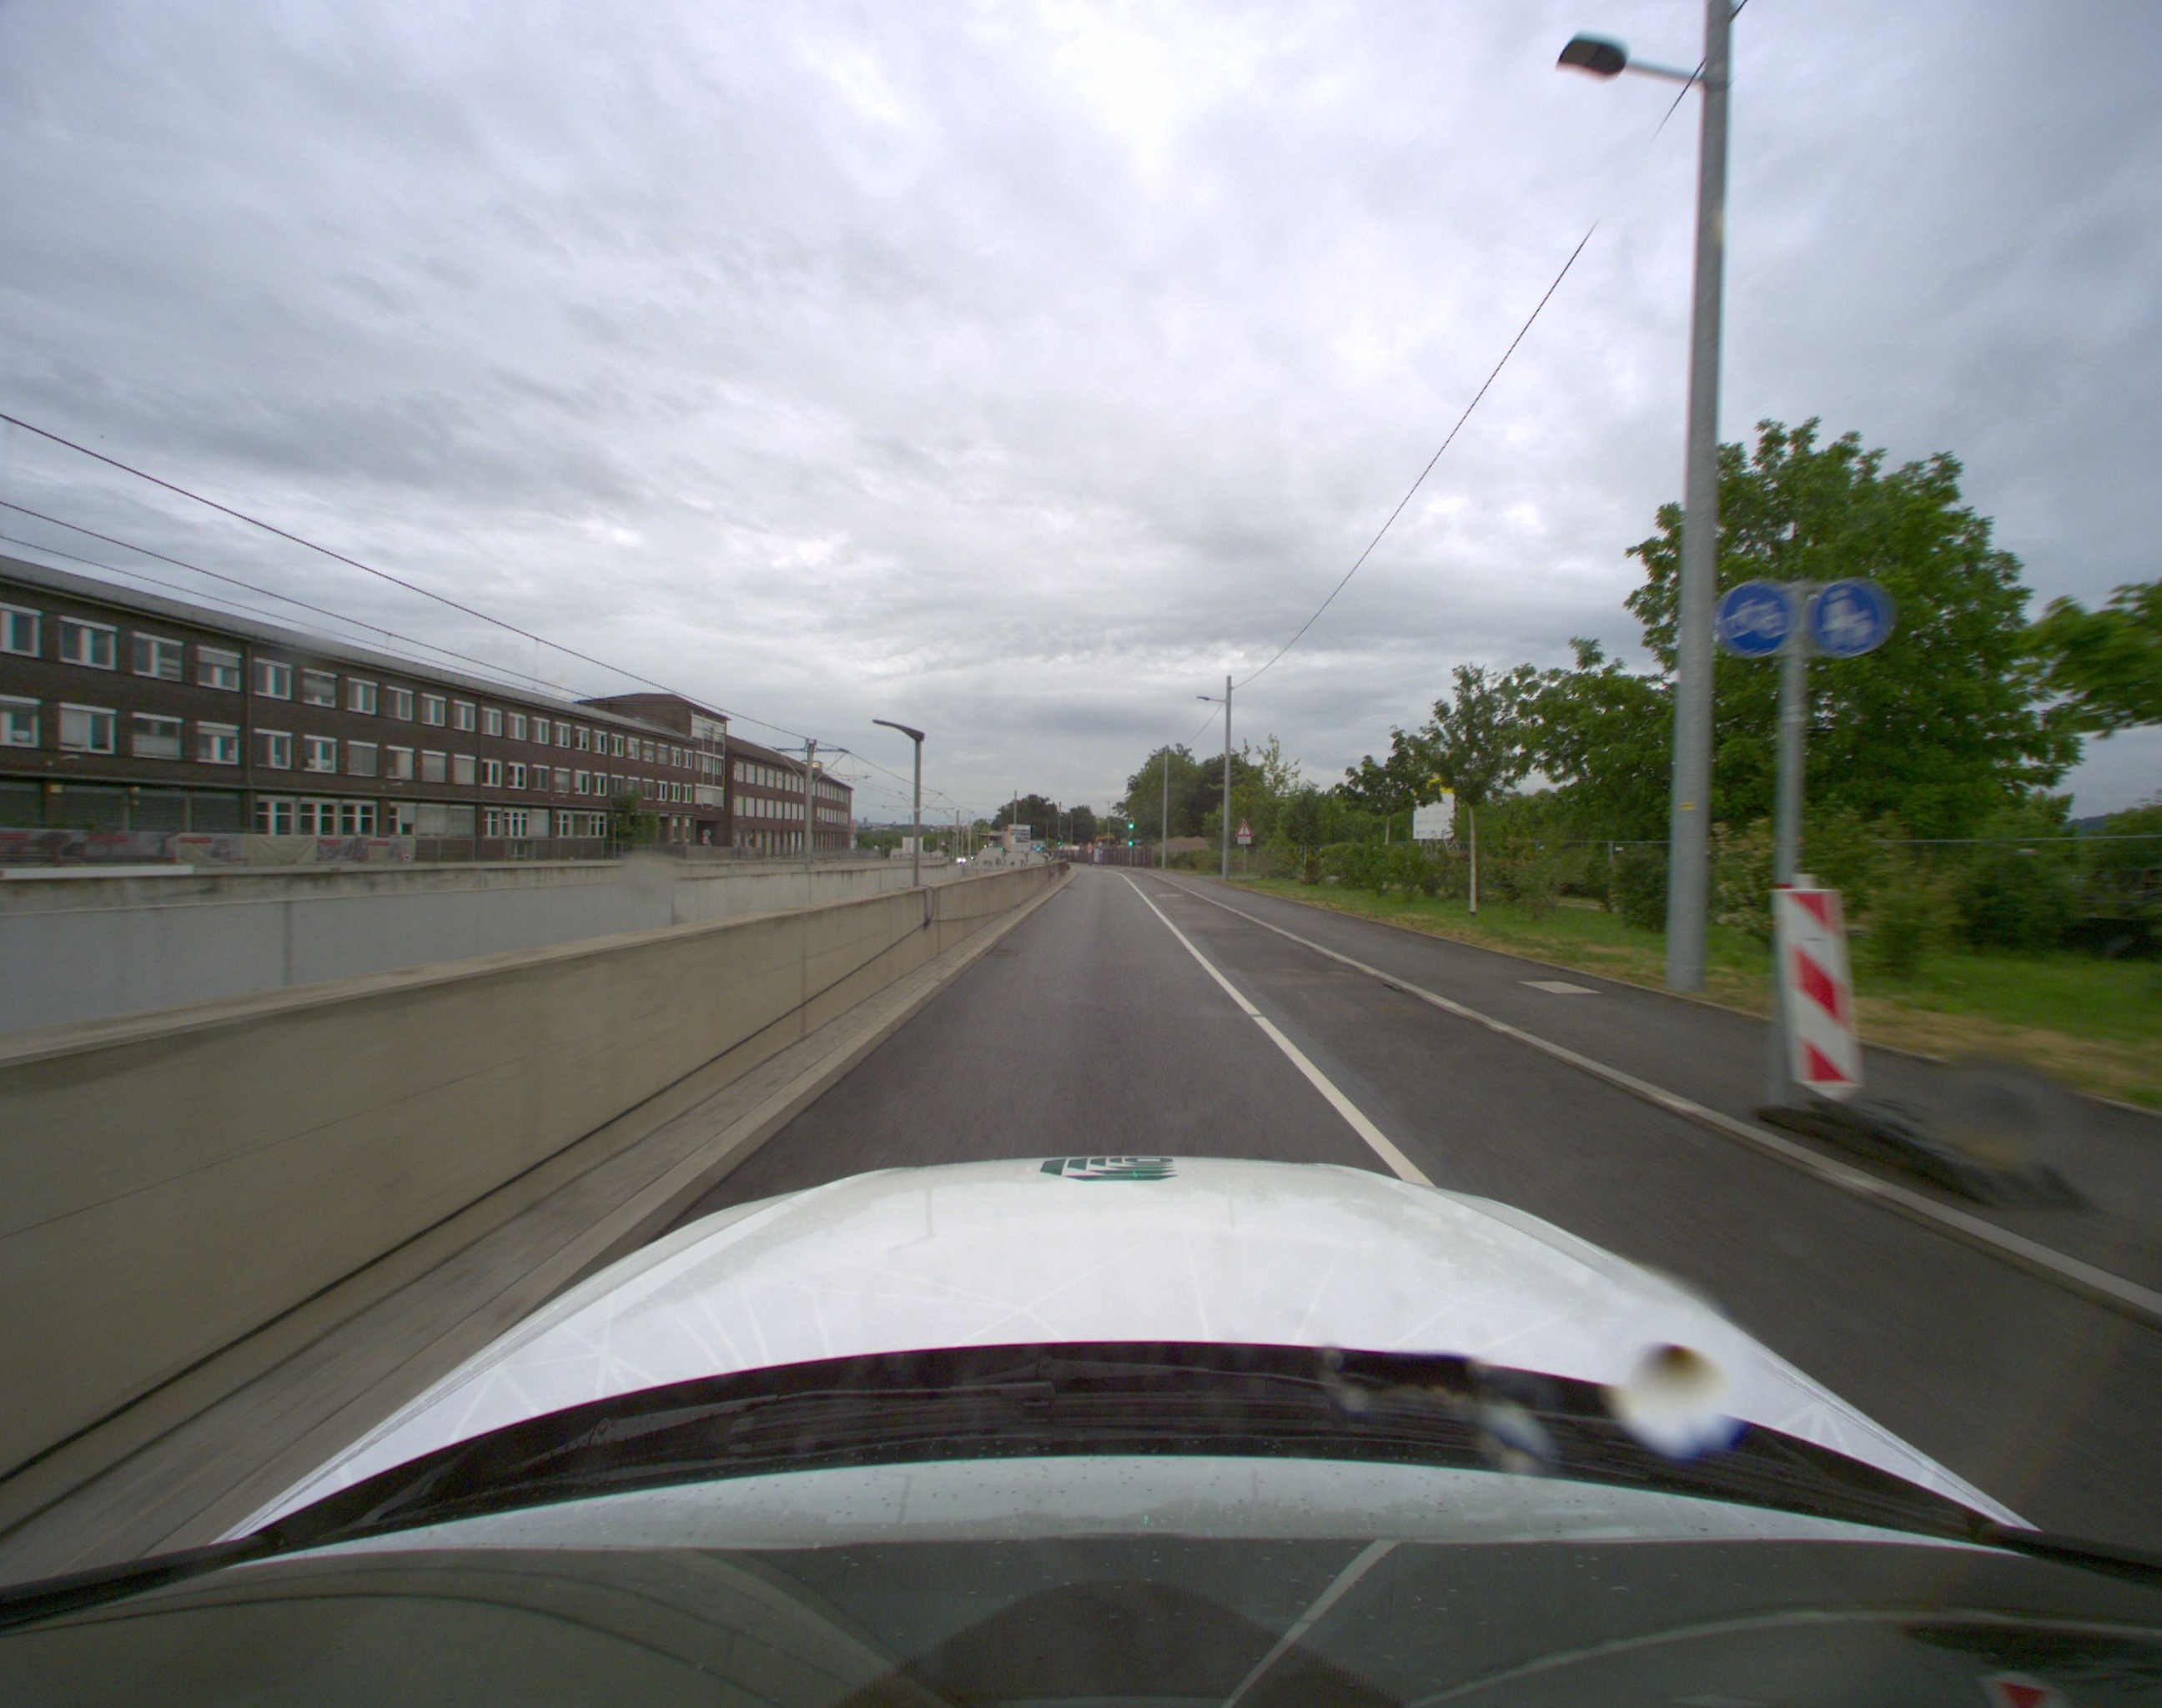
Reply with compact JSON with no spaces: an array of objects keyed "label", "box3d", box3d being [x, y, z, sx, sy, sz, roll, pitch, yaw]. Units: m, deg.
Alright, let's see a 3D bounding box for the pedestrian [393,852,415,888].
[{"label":"pedestrian","box3d":[-38.365,0.894,46.158,0.669,2.014,0.652,0,-1,-1]}]
